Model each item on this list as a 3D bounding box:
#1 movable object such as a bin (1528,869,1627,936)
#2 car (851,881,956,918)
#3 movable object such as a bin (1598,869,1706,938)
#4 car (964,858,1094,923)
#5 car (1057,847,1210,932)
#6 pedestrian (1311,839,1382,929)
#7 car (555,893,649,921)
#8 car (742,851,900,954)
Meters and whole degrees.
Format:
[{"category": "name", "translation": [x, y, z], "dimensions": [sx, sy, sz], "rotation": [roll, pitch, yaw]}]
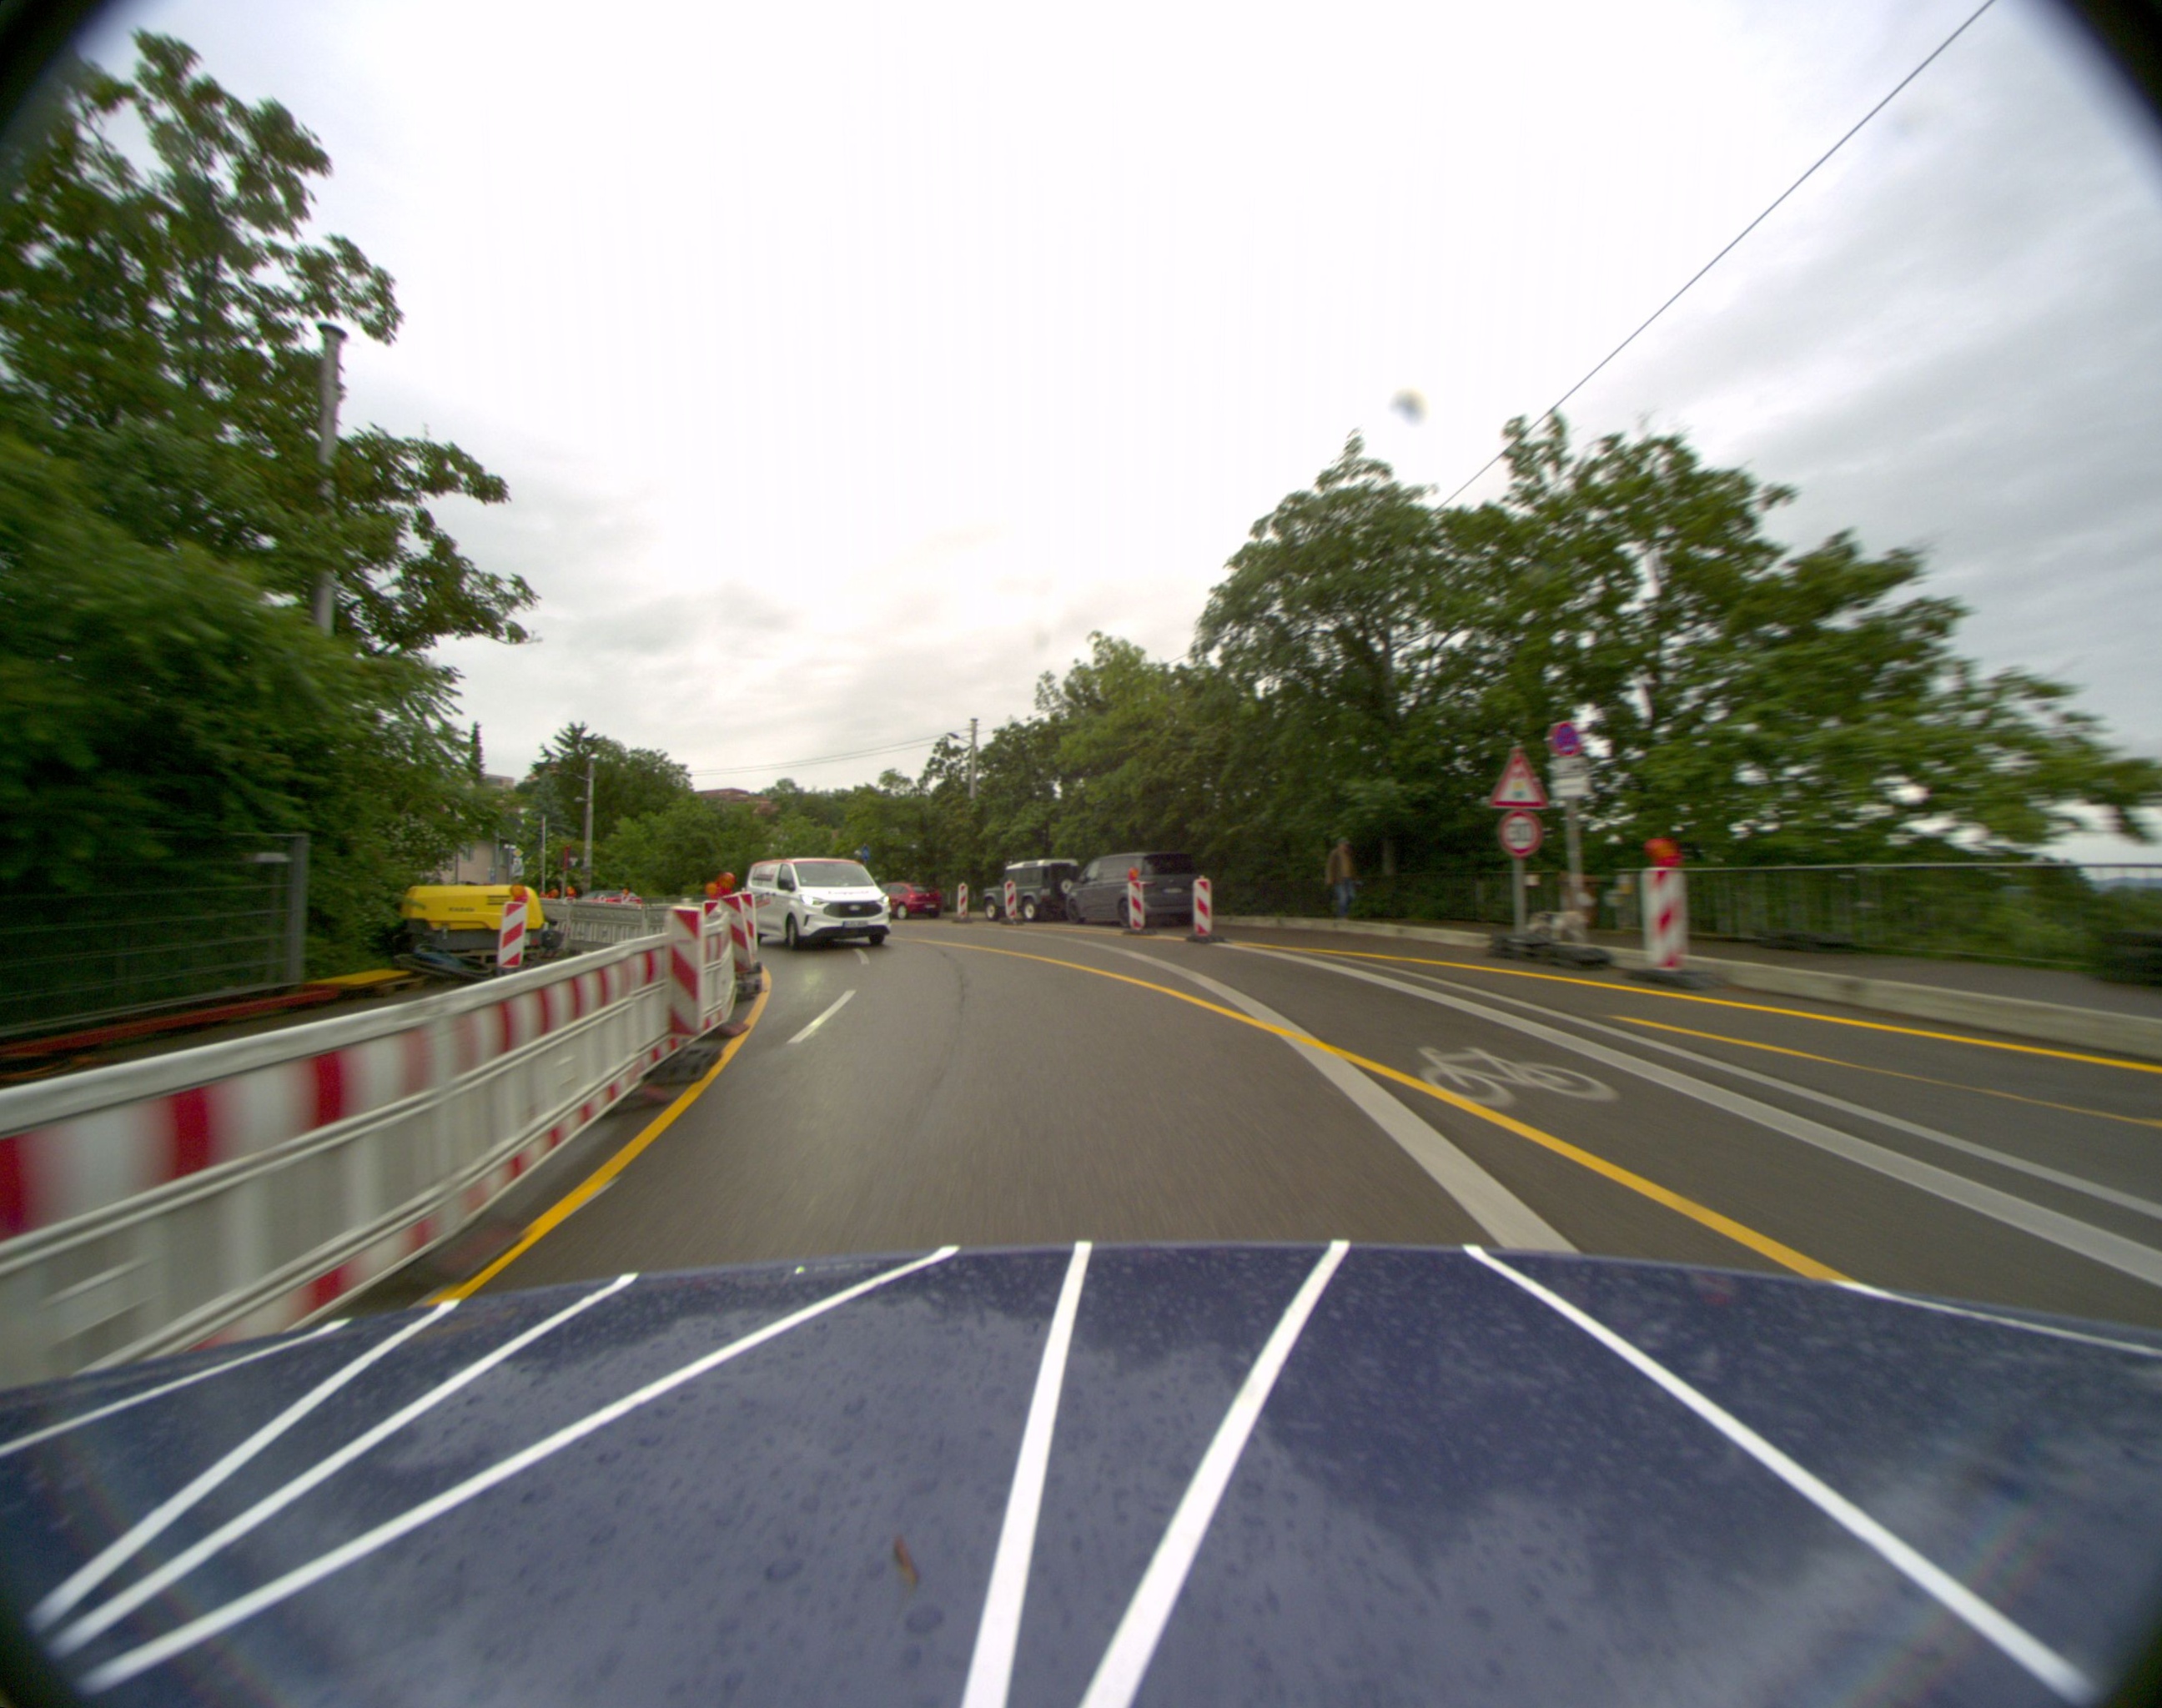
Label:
[{"category": "movable object such as a bin", "translation": [8.538, 0.814, 13.103], "dimensions": [0.989, 1.100, 1.027], "rotation": [0, -1, -7]}, {"category": "car", "translation": [-7.409, 1.884, 31.469], "dimensions": [4.311, 1.431, 1.971], "rotation": [-3, -3, 39]}, {"category": "movable object such as a bin", "translation": [9.631, 0.827, 12.864], "dimensions": [0.989, 1.099, 1.027], "rotation": [0, -3, -7]}, {"category": "car", "translation": [-1.877, 1.252, 25.973], "dimensions": [1.875, 2.001, 4.801], "rotation": [0, -3, -41]}, {"category": "car", "translation": [1.262, 0.924, 20.830], "dimensions": [2.002, 2.001, 4.940], "rotation": [-2, -1, -25]}, {"category": "pedestrian", "translation": [5.436, 0.604, 15.605], "dimensions": [0.926, 1.757, 0.979], "rotation": [-1, 0, -17]}, {"category": "car", "translation": [-24.503, 2.698, 38.898], "dimensions": [4.128, 1.389, 1.694], "rotation": [-1, -3, 14]}, {"category": "car", "translation": [-6.086, 1.059, 17.370], "dimensions": [2.004, 2.001, 4.937], "rotation": [1, -3, -37]}]
